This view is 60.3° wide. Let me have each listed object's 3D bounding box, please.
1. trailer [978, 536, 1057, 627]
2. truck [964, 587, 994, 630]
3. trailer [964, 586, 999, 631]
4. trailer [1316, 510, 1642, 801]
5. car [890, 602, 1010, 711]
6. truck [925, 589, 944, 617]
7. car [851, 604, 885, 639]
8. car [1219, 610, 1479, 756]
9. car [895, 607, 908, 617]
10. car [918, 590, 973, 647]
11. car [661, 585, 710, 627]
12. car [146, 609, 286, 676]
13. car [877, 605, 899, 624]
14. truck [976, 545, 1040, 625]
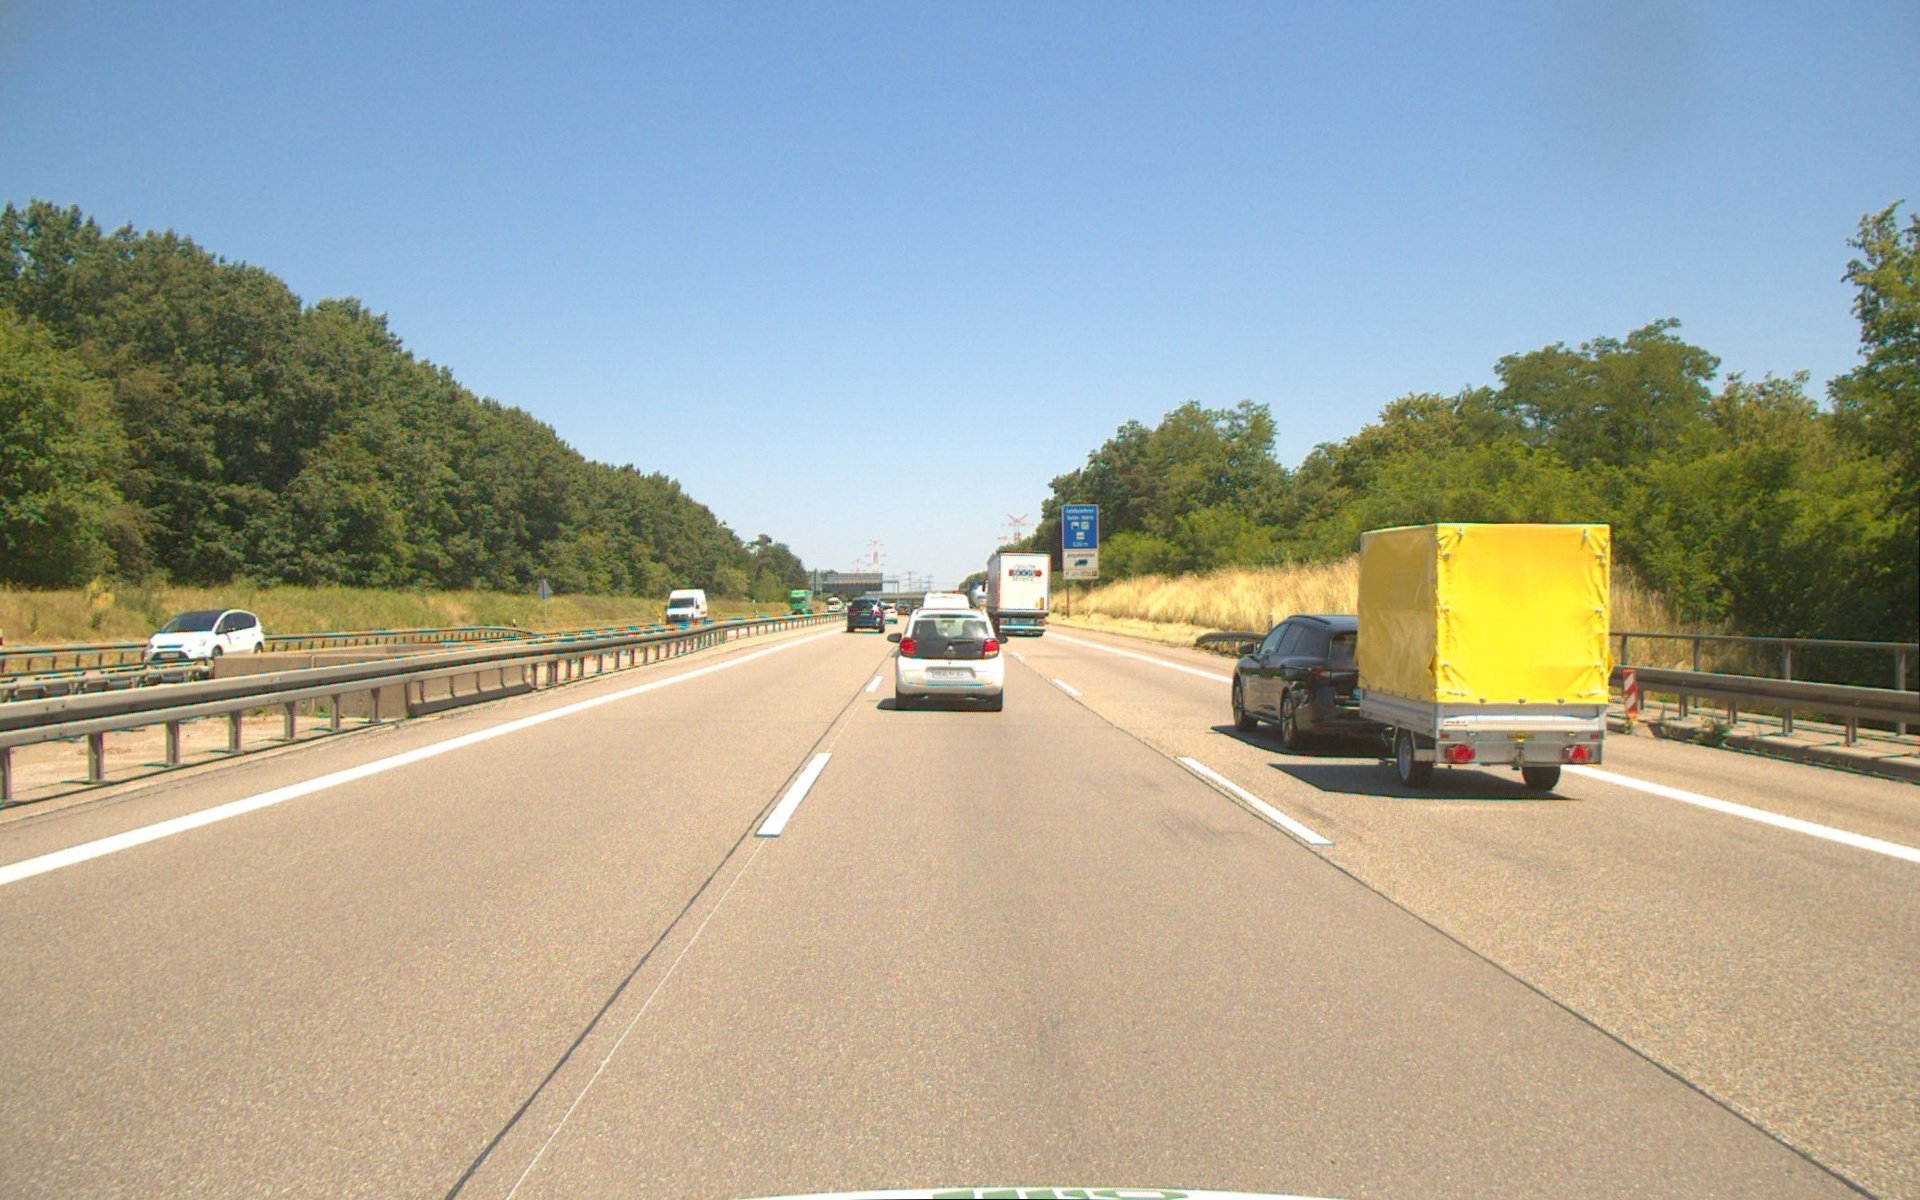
[{"bbox_3d":[2.871,-0.822,86.587,3.219,4.293,13.560,1,-1,-2],"label":"trailer"},{"bbox_3d":[1.751,0.832,155.713,2.628,3.904,4.442,1,-1,-2],"label":"truck"},{"bbox_3d":[1.901,0.780,150.054,2.628,3.904,12.005,1,-1,-2],"label":"trailer"},{"bbox_3d":[4.613,0.460,15.287,1.669,2.330,3.838,1,0,-2],"label":"trailer"},{"bbox_3d":[-0.174,0.807,25.351,1.673,1.521,4.023,1,0,-1],"label":"car"},{"bbox_3d":[-2.791,0.317,180.997,2.018,2.965,7.000,0,-1,-2],"label":"truck"},{"bbox_3d":[-4.748,1.088,85.410,1.593,1.785,3.803,1,0,-1],"label":"car"},{"bbox_3d":[4.429,0.885,19.623,1.785,1.481,4.786,1,0,-2],"label":"car"},{"bbox_3d":[-7.563,1.547,213.284,1.574,1.323,3.673,1,0,-1],"label":"car"},{"bbox_3d":[-0.520,0.624,56.265,1.777,1.859,5.108,0,-1,-2],"label":"car"},{"bbox_3d":[-18.625,0.419,112.427,2.121,2.670,7.541,-3,0,-1],"label":"car"},{"bbox_3d":[-20.999,1.143,46.919,1.667,1.690,5.115,-3,0,-1],"label":"car"},{"bbox_3d":[-5.547,1.121,127.123,1.635,1.426,3.711,0,0,-2],"label":"car"},{"bbox_3d":[2.671,-0.796,93.878,3.219,4.293,6.005,1,-1,-2],"label":"truck"}]
